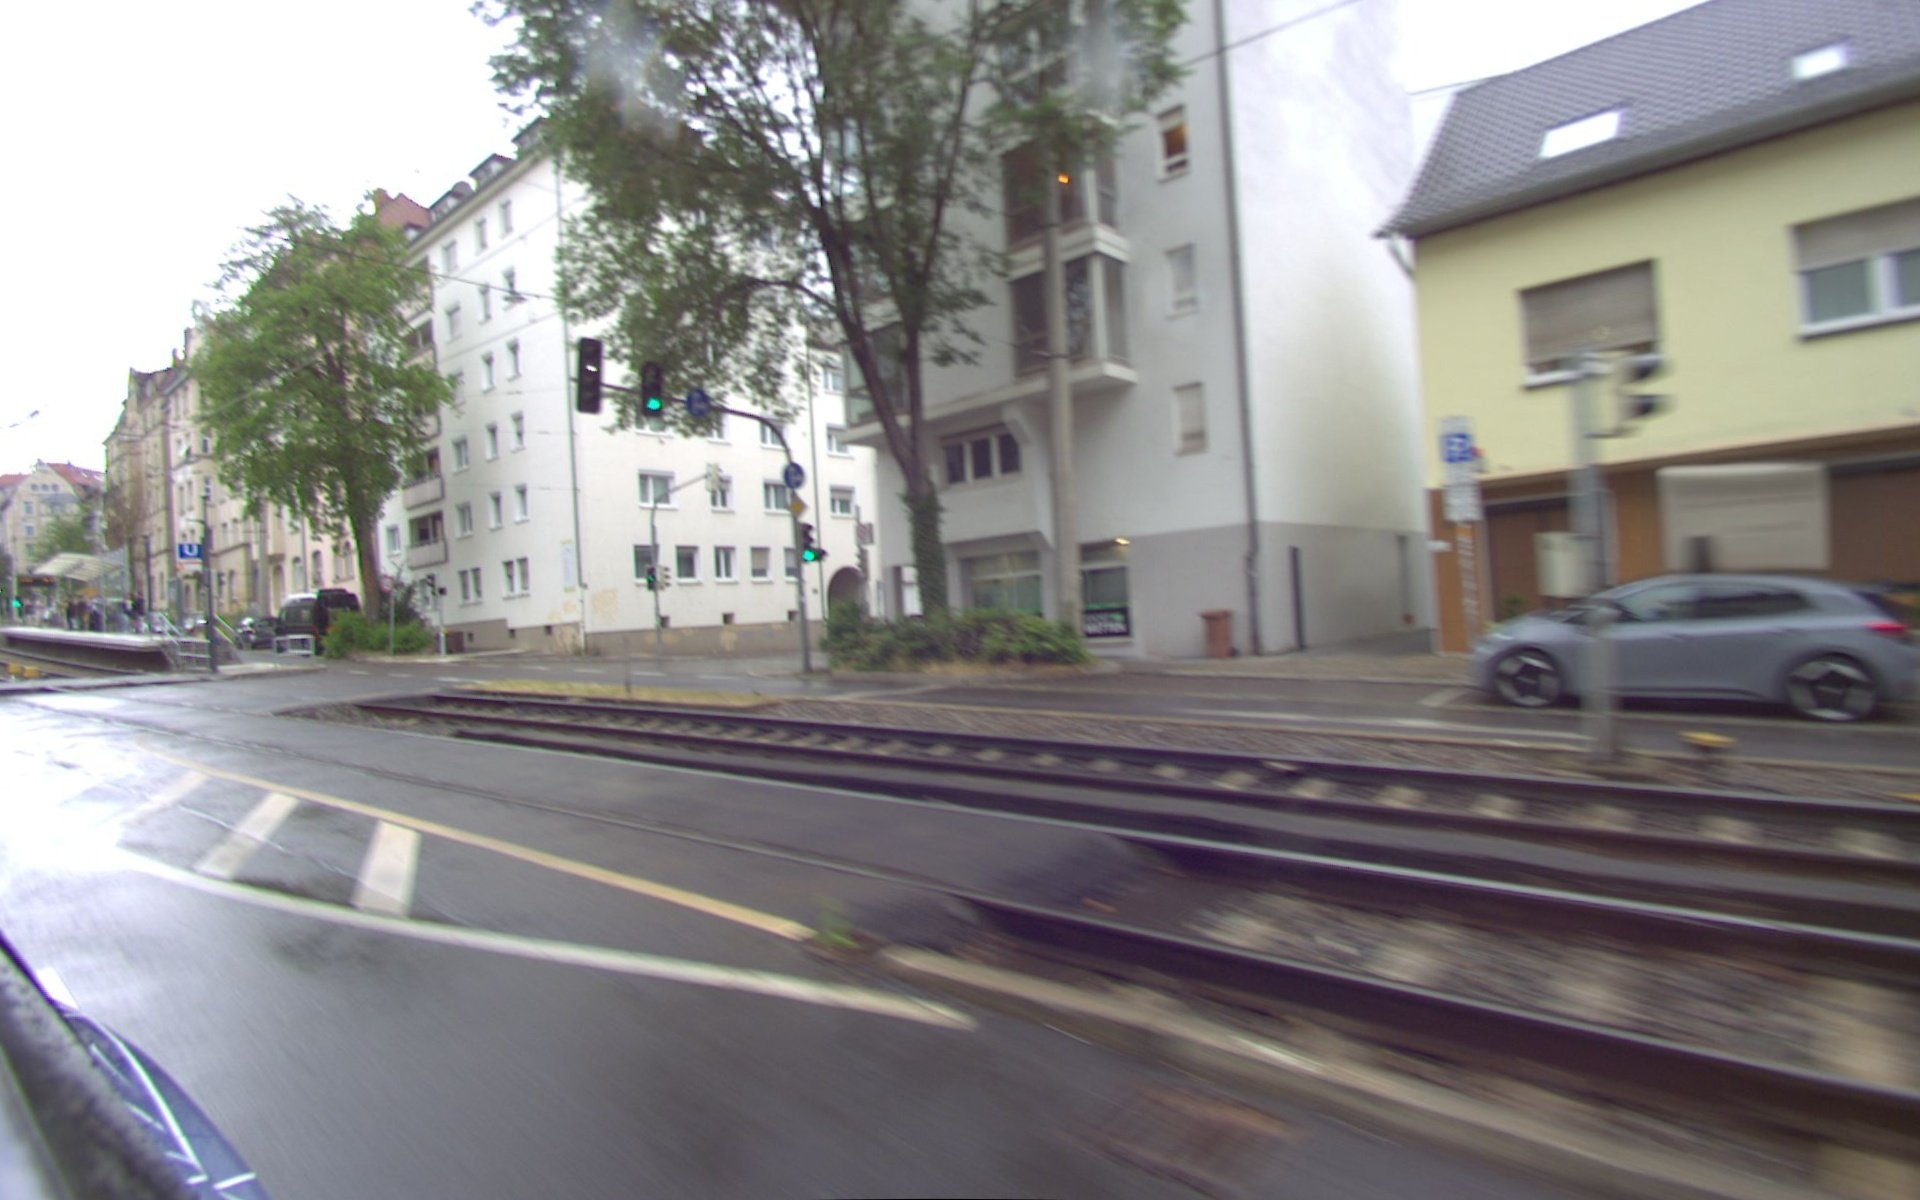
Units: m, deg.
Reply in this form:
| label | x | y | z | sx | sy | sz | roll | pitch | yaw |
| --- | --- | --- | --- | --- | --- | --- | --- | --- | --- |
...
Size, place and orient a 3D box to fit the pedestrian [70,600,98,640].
| label | x | y | z | sx | sy | sz | roll | pitch | yaw |
| --- | --- | --- | --- | --- | --- | --- | --- | --- | --- |
| pedestrian | -41.346 | 0.954 | 47.782 | 0.860 | 1.866 | 0.891 | -2 | -1 | 42 |

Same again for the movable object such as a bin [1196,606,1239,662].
| label | x | y | z | sx | sy | sz | roll | pitch | yaw |
| --- | --- | --- | --- | --- | --- | --- | --- | --- | --- |
| movable object such as a bin | 4.829 | 0.626 | 18.994 | 0.645 | 1.022 | 0.434 | -2 | -1 | 40 |

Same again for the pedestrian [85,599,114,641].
| label | x | y | z | sx | sy | sz | roll | pitch | yaw |
| --- | --- | --- | --- | --- | --- | --- | --- | --- | --- |
| pedestrian | -38.636 | 0.885 | 45.448 | 0.860 | 1.866 | 0.891 | -2 | -1 | 42 |

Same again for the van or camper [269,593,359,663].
| label | x | y | z | sx | sy | sz | roll | pitch | yaw |
| --- | --- | --- | --- | --- | --- | --- | --- | --- | --- |
| van or camper | -27.766 | 1.172 | 43.441 | 5.212 | 2.819 | 1.972 | -1 | -1 | 43 |

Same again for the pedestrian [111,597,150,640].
| label | x | y | z | sx | sy | sz | roll | pitch | yaw |
| --- | --- | --- | --- | --- | --- | --- | --- | --- | --- |
| pedestrian | -34.837 | 0.778 | 42.511 | 0.965 | 1.796 | 1.105 | -2 | -1 | 41 |

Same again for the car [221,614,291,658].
| label | x | y | z | sx | sy | sz | roll | pitch | yaw |
| --- | --- | --- | --- | --- | --- | --- | --- | --- | --- |
| car | -34.739 | 1.762 | 49.905 | 4.000 | 2.029 | 1.972 | -2 | -1 | 43 |

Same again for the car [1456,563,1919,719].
| label | x | y | z | sx | sy | sz | roll | pitch | yaw |
| --- | --- | --- | --- | --- | --- | --- | --- | --- | --- |
| car | 8.298 | 0.422 | 11.612 | 4.359 | 1.471 | 1.687 | -2 | 1 | 42 |
